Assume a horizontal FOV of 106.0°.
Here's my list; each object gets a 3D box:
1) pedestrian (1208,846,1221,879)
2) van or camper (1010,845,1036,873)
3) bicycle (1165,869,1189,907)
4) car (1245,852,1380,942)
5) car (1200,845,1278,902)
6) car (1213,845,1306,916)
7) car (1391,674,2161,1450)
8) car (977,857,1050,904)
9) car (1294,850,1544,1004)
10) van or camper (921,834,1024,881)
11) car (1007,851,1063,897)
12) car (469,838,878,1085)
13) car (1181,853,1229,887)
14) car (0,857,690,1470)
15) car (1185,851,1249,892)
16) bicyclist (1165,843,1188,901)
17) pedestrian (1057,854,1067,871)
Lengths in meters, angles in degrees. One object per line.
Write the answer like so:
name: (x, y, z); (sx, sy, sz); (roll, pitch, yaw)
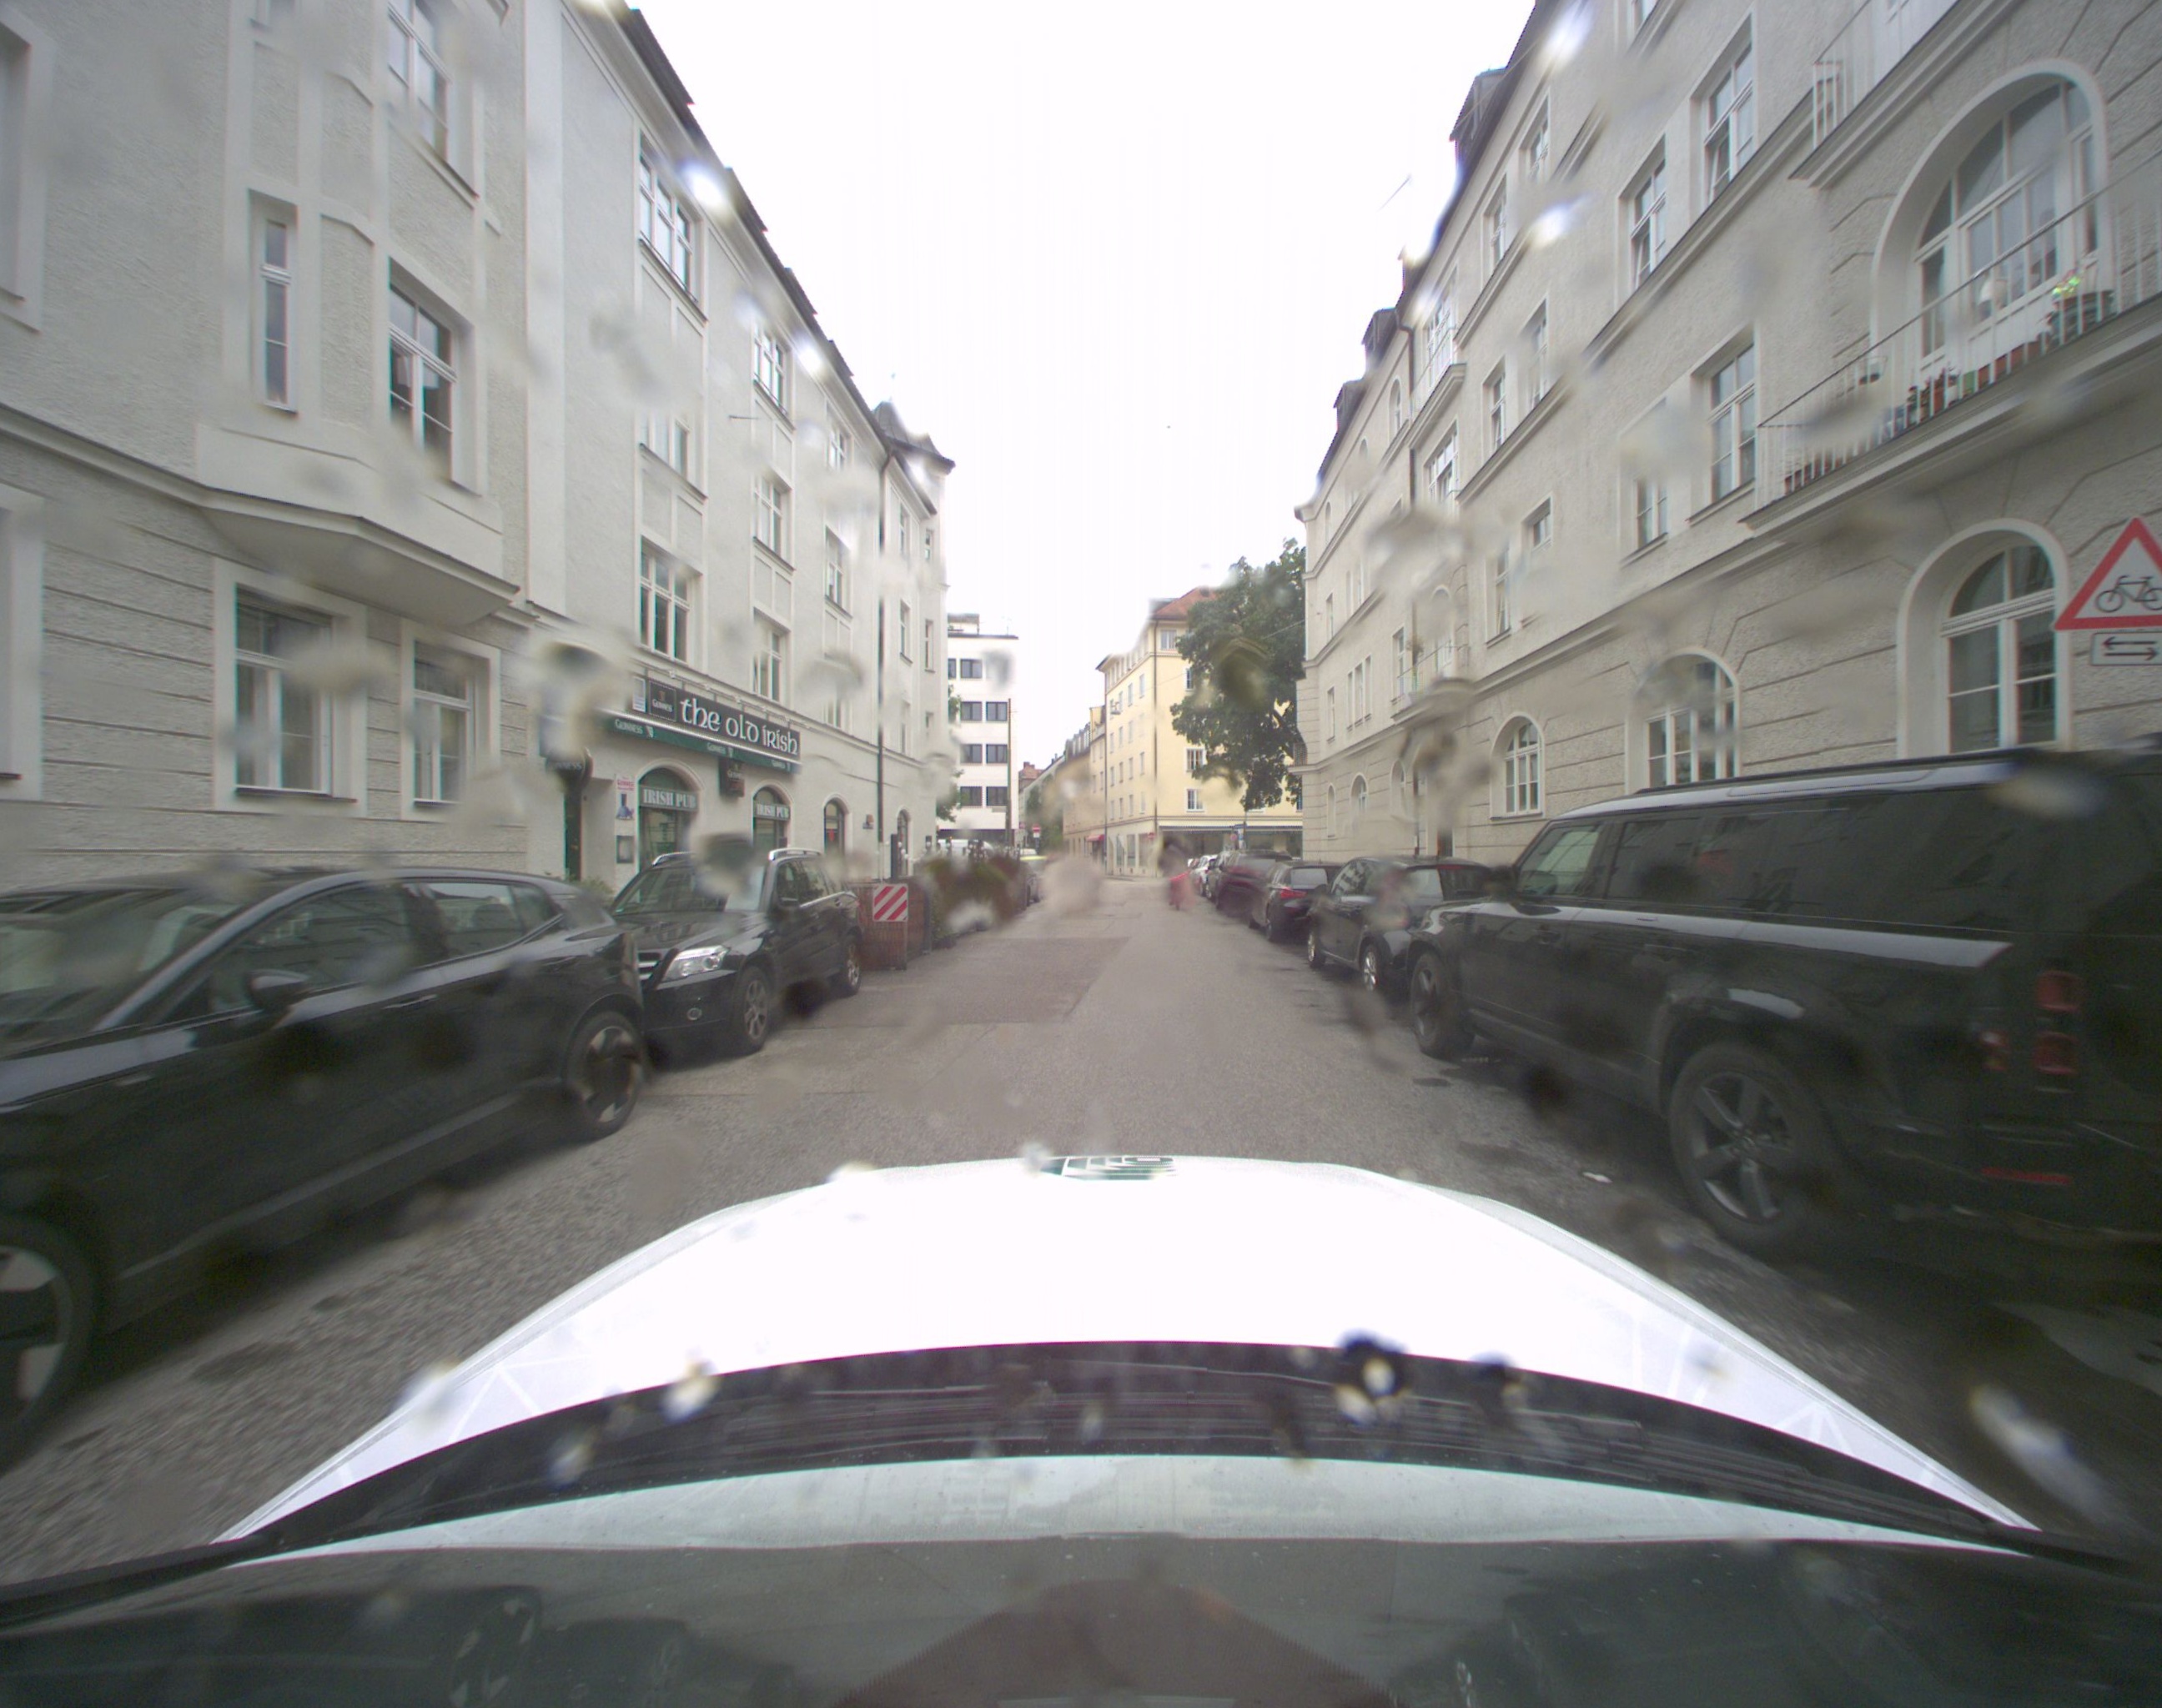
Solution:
pedestrian: (6.678, 0.435, 40.891); (0.608, 1.661, 0.552); (0, 0, 5)
van or camper: (-5.455, 0.481, 75.900); (1.993, 2.540, 4.746); (-1, 0, -9)
bicycle: (2.683, 0.939, 22.876); (0.636, 1.004, 1.576); (-1, 0, 5)
car: (4.250, 0.704, 15.561); (1.698, 1.471, 4.207); (0, 0, 5)
car: (5.141, 0.591, 27.012); (1.783, 1.713, 4.427); (-1, 0, 1)
car: (4.563, 0.615, 21.355); (1.769, 1.636, 4.380); (1, 0, 4)
car: (3.478, 0.532, 4.339); (1.904, 1.885, 4.715); (2, 0, 1)
car: (-2.178, 0.826, 27.281); (1.699, 1.390, 4.006); (-2, 0, 5)
car: (3.861, 0.719, 9.975); (1.649, 1.525, 3.638); (0, 0, 2)
van or camper: (-6.356, 0.209, 48.056); (5.899, 2.677, 1.868); (-1, -2, -7)
car: (-1.727, 0.754, 31.768); (1.669, 1.597, 3.948); (-2, -1, 3)
car: (-3.447, 0.758, 7.972); (1.740, 1.673, 4.275); (-3, 0, 0)
car: (5.575, 0.677, 37.084); (1.663, 1.435, 4.215); (0, 0, 2)
car: (-3.514, 0.787, 3.320); (1.736, 1.487, 4.181); (-1, 0, 1)
car: (5.207, 0.647, 31.593); (1.745, 1.496, 3.907); (0, 0, -2)
bicyclist: (2.682, 0.492, 22.939); (0.603, 1.606, 0.758); (-1, 0, 5)
pedestrian: (-2.074, 0.927, 88.657); (0.877, 1.778, 0.771); (0, 0, -10)
